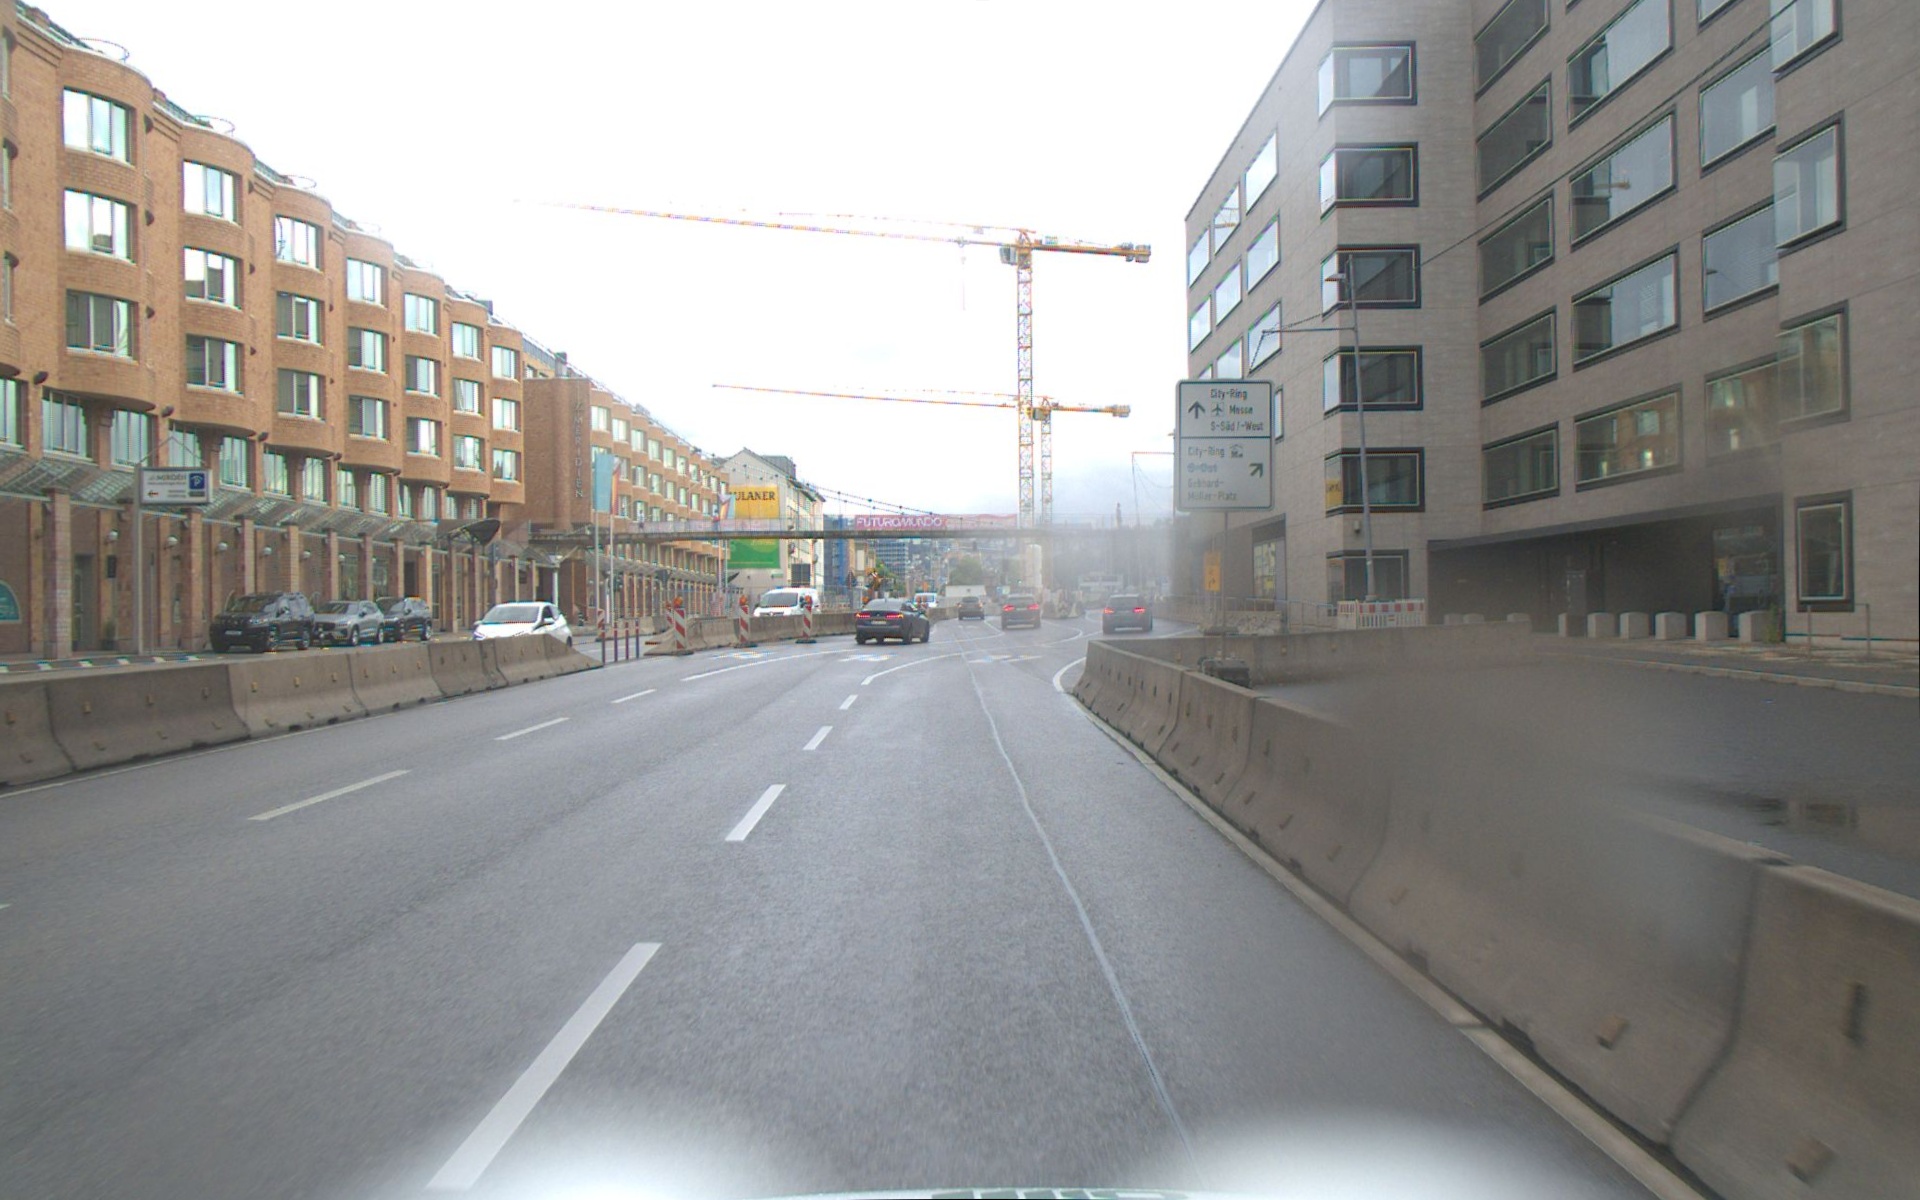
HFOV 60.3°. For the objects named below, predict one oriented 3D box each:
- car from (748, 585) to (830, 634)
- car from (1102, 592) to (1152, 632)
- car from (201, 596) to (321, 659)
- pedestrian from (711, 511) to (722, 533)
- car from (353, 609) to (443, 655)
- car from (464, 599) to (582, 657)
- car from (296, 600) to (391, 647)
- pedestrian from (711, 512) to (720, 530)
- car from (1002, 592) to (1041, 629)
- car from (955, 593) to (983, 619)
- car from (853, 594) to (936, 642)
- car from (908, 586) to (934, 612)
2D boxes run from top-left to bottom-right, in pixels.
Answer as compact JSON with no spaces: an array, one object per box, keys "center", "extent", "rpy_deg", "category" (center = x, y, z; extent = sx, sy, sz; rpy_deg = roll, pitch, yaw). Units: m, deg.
[{"center":[-6.681,0.344,65.253],"extent":[1.845,1.814,4.881],"rpy_deg":[-1,0,11],"category":"car"},{"center":[6.553,0.453,64.721],"extent":[1.823,1.458,4.660],"rpy_deg":[-1,0,7],"category":"car"},{"center":[-22.847,0.851,54.280],"extent":[1.953,1.919,5.012],"rpy_deg":[-1,0,-2],"category":"car"},{"center":[-16.408,-5.249,111.484],"extent":[0.607,1.477,0.618],"rpy_deg":[-2,0,3],"category":"pedestrian"},{"center":[-22.759,1.268,67.189],"extent":[1.953,1.720,5.049],"rpy_deg":[-1,0,-1],"category":"car"},{"center":[-10.162,0.620,38.716],"extent":[1.578,1.253,3.728],"rpy_deg":[-1,0,3],"category":"car"},{"center":[-22.900,0.856,61.624],"extent":[1.953,1.621,4.538],"rpy_deg":[-1,0,-2],"category":"car"},{"center":[-16.467,-5.327,111.394],"extent":[0.465,1.215,0.484],"rpy_deg":[-2,0,3],"category":"pedestrian"},{"center":[2.962,0.476,80.281],"extent":[1.824,1.689,4.657],"rpy_deg":[-1,0,1],"category":"car"},{"center":[0.615,0.414,116.166],"extent":[1.825,1.796,4.655],"rpy_deg":[-1,0,-1],"category":"car"},{"center":[-2.102,0.574,54.480],"extent":[1.823,1.468,4.660],"rpy_deg":[-1,0,9],"category":"car"},{"center":[-2.999,-0.079,127.015],"extent":[1.953,1.918,4.868],"rpy_deg":[-1,0,-2],"category":"car"}]
